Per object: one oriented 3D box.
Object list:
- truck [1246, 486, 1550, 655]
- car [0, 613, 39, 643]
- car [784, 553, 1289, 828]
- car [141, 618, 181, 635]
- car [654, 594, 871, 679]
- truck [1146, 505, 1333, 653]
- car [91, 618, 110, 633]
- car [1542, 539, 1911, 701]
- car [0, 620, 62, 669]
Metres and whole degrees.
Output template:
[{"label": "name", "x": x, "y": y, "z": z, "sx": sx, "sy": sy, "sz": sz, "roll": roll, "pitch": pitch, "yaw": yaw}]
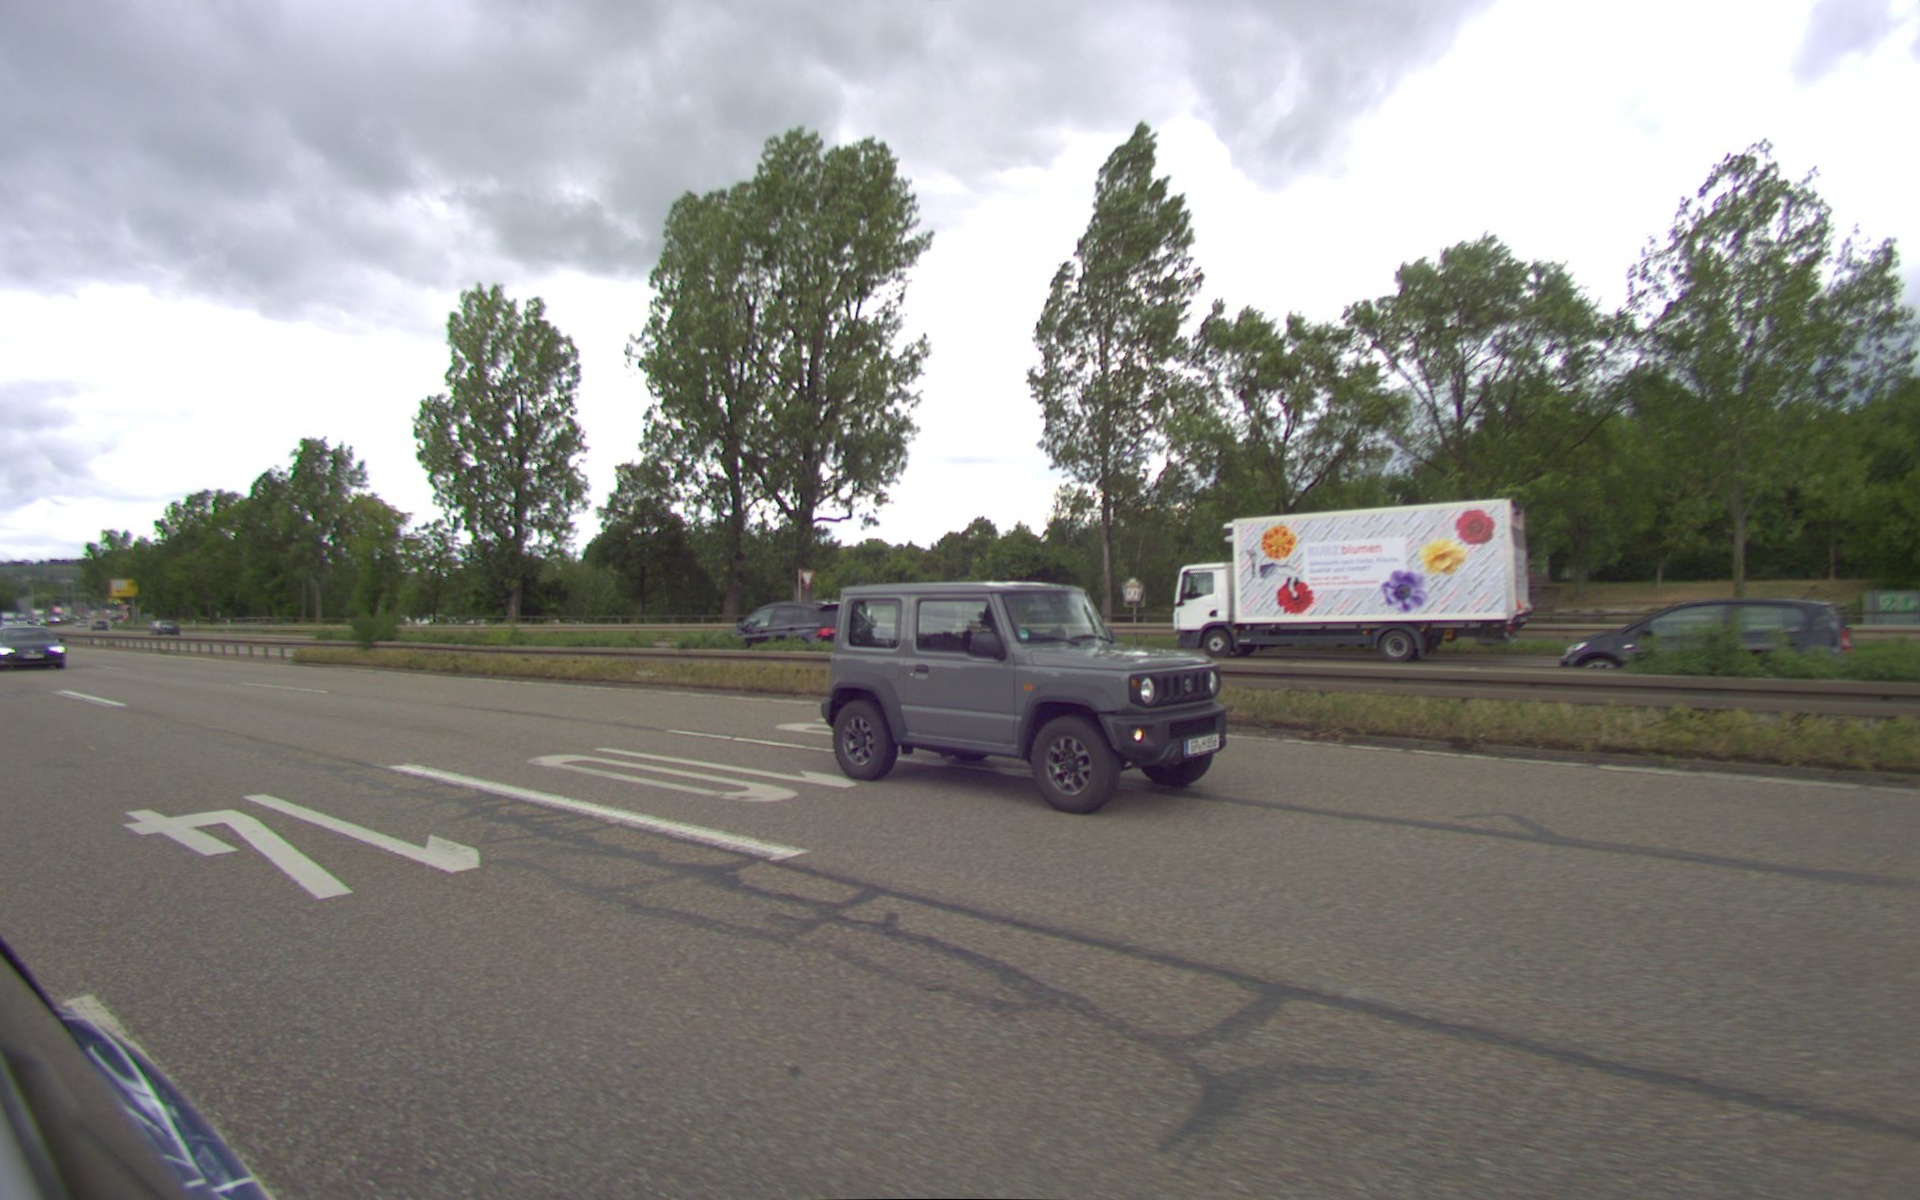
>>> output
[{"label": "truck", "x": 10.734, "y": -0.631, "z": 25.036, "sx": 6.325, "sy": 3.670, "sz": 2.956, "roll": -2, "pitch": 2, "yaw": 37}, {"label": "car", "x": -62.272, "y": 1.846, "z": 66.700, "sx": 3.997, "sy": 1.878, "sz": 1.854, "roll": -2, "pitch": -1, "yaw": 40}, {"label": "car", "x": 0.455, "y": 0.598, "z": 8.406, "sx": 3.997, "sy": 1.749, "sz": 1.663, "roll": -1, "pitch": 0, "yaw": 42}, {"label": "car", "x": -75.331, "y": 2.491, "z": 95.395, "sx": 4.645, "sy": 1.621, "sz": 1.974, "roll": -1, "pitch": -2, "yaw": 39}, {"label": "car", "x": -4.678, "y": 0.772, "z": 23.377, "sx": 5.519, "sy": 1.743, "sz": 1.828, "roll": -1, "pitch": 0, "yaw": 39}, {"label": "truck", "x": 7.565, "y": -0.552, "z": 27.390, "sx": 3.992, "sy": 3.670, "sz": 2.958, "roll": -2, "pitch": 2, "yaw": 36}, {"label": "car", "x": -127.045, "y": 3.743, "z": 149.501, "sx": 1.969, "sy": 2.028, "sz": 5.229, "roll": -4, "pitch": 1, "yaw": -41}, {"label": "car", "x": 10.884, "y": 0.253, "z": 14.689, "sx": 3.993, "sy": 2.028, "sz": 1.976, "roll": -2, "pitch": 2, "yaw": 37}, {"label": "car", "x": -31.272, "y": 1.466, "z": 33.639, "sx": 1.913, "sy": 1.512, "sz": 4.306, "roll": 0, "pitch": -1, "yaw": -45}]
